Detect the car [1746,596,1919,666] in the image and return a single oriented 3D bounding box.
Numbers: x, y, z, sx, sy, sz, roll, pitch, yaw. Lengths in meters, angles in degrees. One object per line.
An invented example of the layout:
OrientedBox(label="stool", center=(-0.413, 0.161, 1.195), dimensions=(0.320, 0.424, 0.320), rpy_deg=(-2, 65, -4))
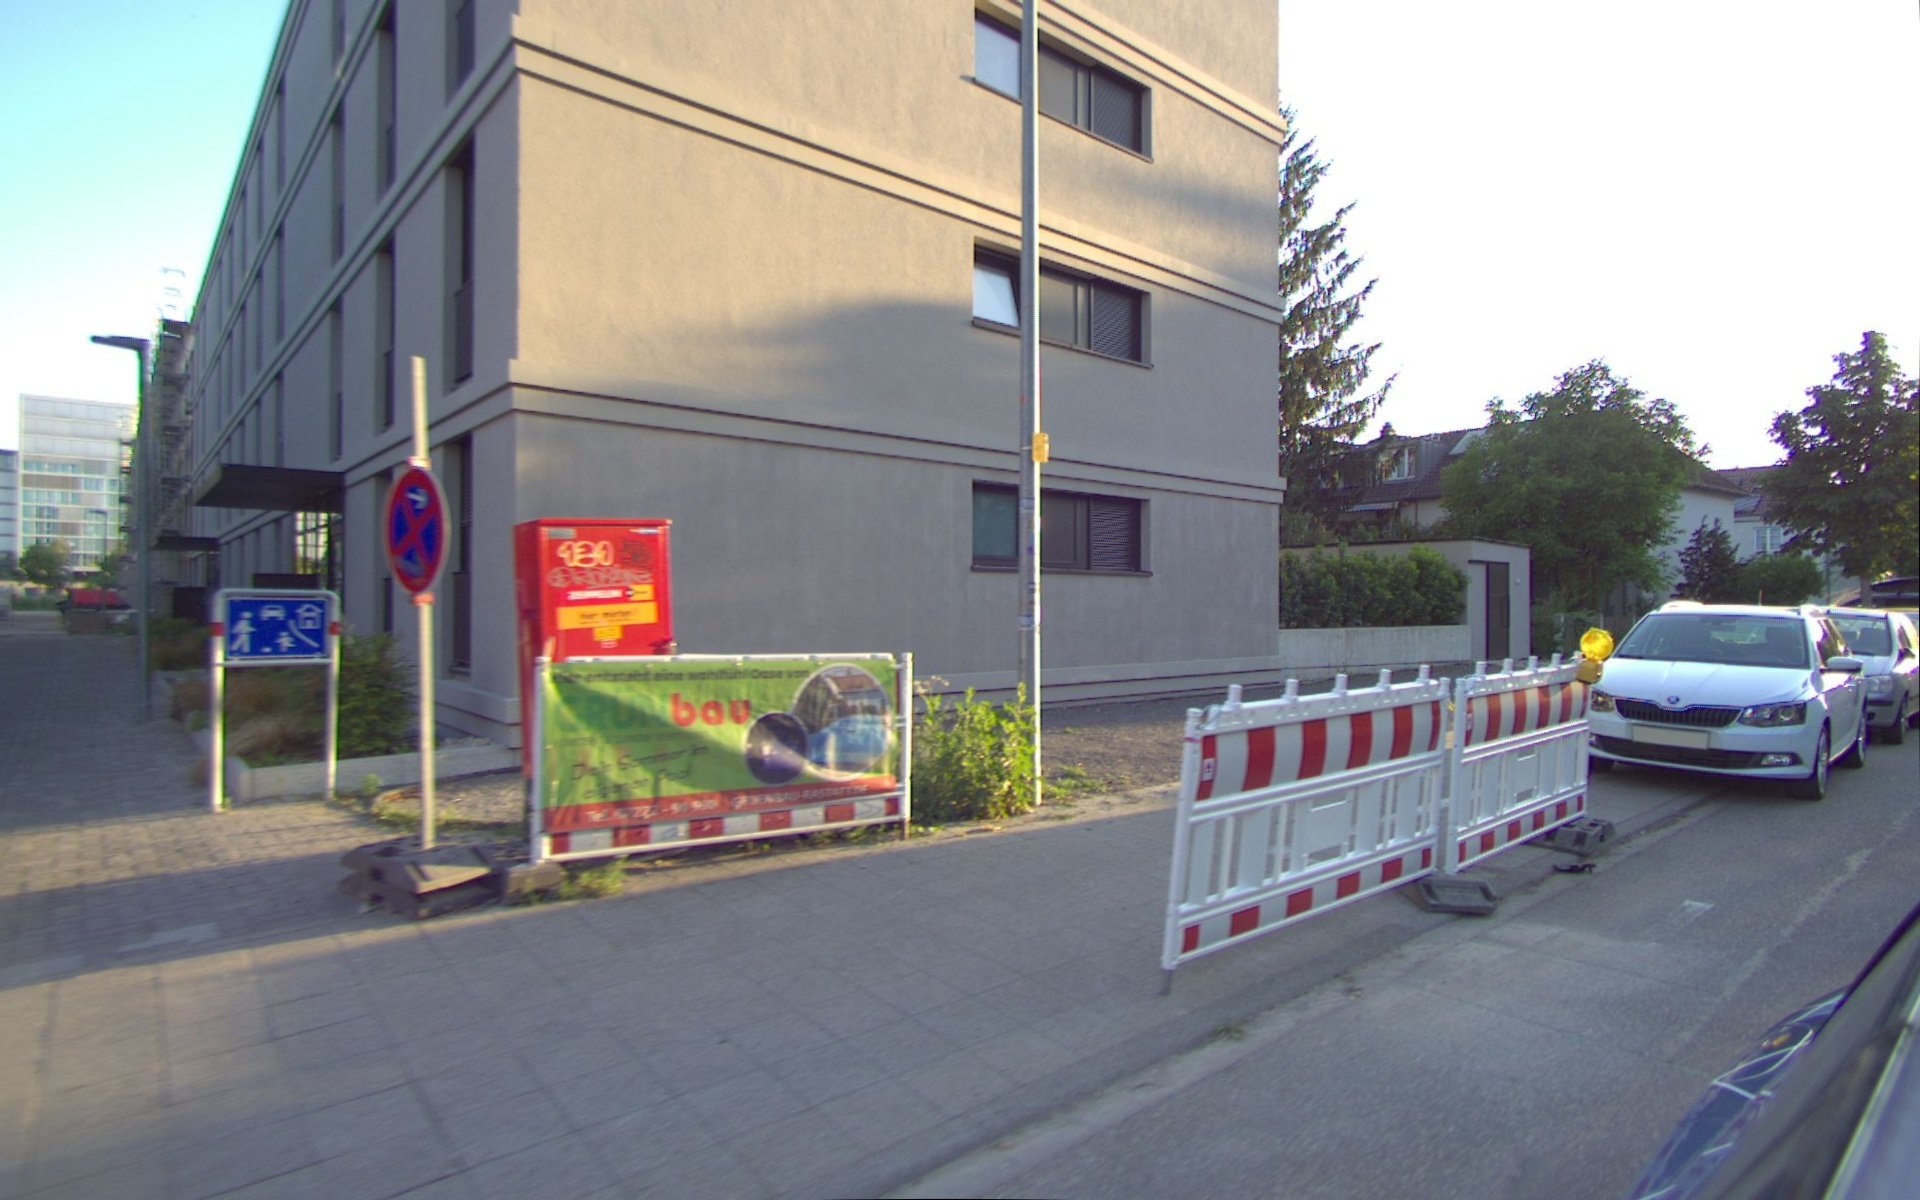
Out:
OrientedBox(label="car", center=(21.726, 0.710, 24.408), dimensions=(1.737, 1.520, 4.068), rpy_deg=(1, 1, -36))

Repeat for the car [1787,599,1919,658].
OrientedBox(label="car", center=(25.264, 0.752, 27.700), dimensions=(1.600, 1.563, 3.839), rpy_deg=(0, 0, -40))

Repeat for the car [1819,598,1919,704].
OrientedBox(label="car", center=(14.750, 0.711, 15.555), dimensions=(3.691, 1.488, 1.744), rpy_deg=(0, 0, -39))

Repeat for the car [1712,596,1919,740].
OrientedBox(label="car", center=(10.749, 0.699, 12.370), dimensions=(3.777, 1.488, 1.800), rpy_deg=(0, 0, -42))

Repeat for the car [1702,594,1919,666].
OrientedBox(label="car", center=(19.759, 0.635, 22.634), dimensions=(1.738, 1.415, 4.830), rpy_deg=(1, 1, -39))

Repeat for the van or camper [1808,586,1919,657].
OrientedBox(label="van or camper", center=(27.373, 0.597, 28.873), dimensions=(2.059, 1.978, 4.653), rpy_deg=(0, 0, -42))

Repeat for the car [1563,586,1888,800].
OrientedBox(label="car", center=(6.899, 0.644, 8.967), dimensions=(3.928, 1.488, 1.616), rpy_deg=(0, 0, -42))
